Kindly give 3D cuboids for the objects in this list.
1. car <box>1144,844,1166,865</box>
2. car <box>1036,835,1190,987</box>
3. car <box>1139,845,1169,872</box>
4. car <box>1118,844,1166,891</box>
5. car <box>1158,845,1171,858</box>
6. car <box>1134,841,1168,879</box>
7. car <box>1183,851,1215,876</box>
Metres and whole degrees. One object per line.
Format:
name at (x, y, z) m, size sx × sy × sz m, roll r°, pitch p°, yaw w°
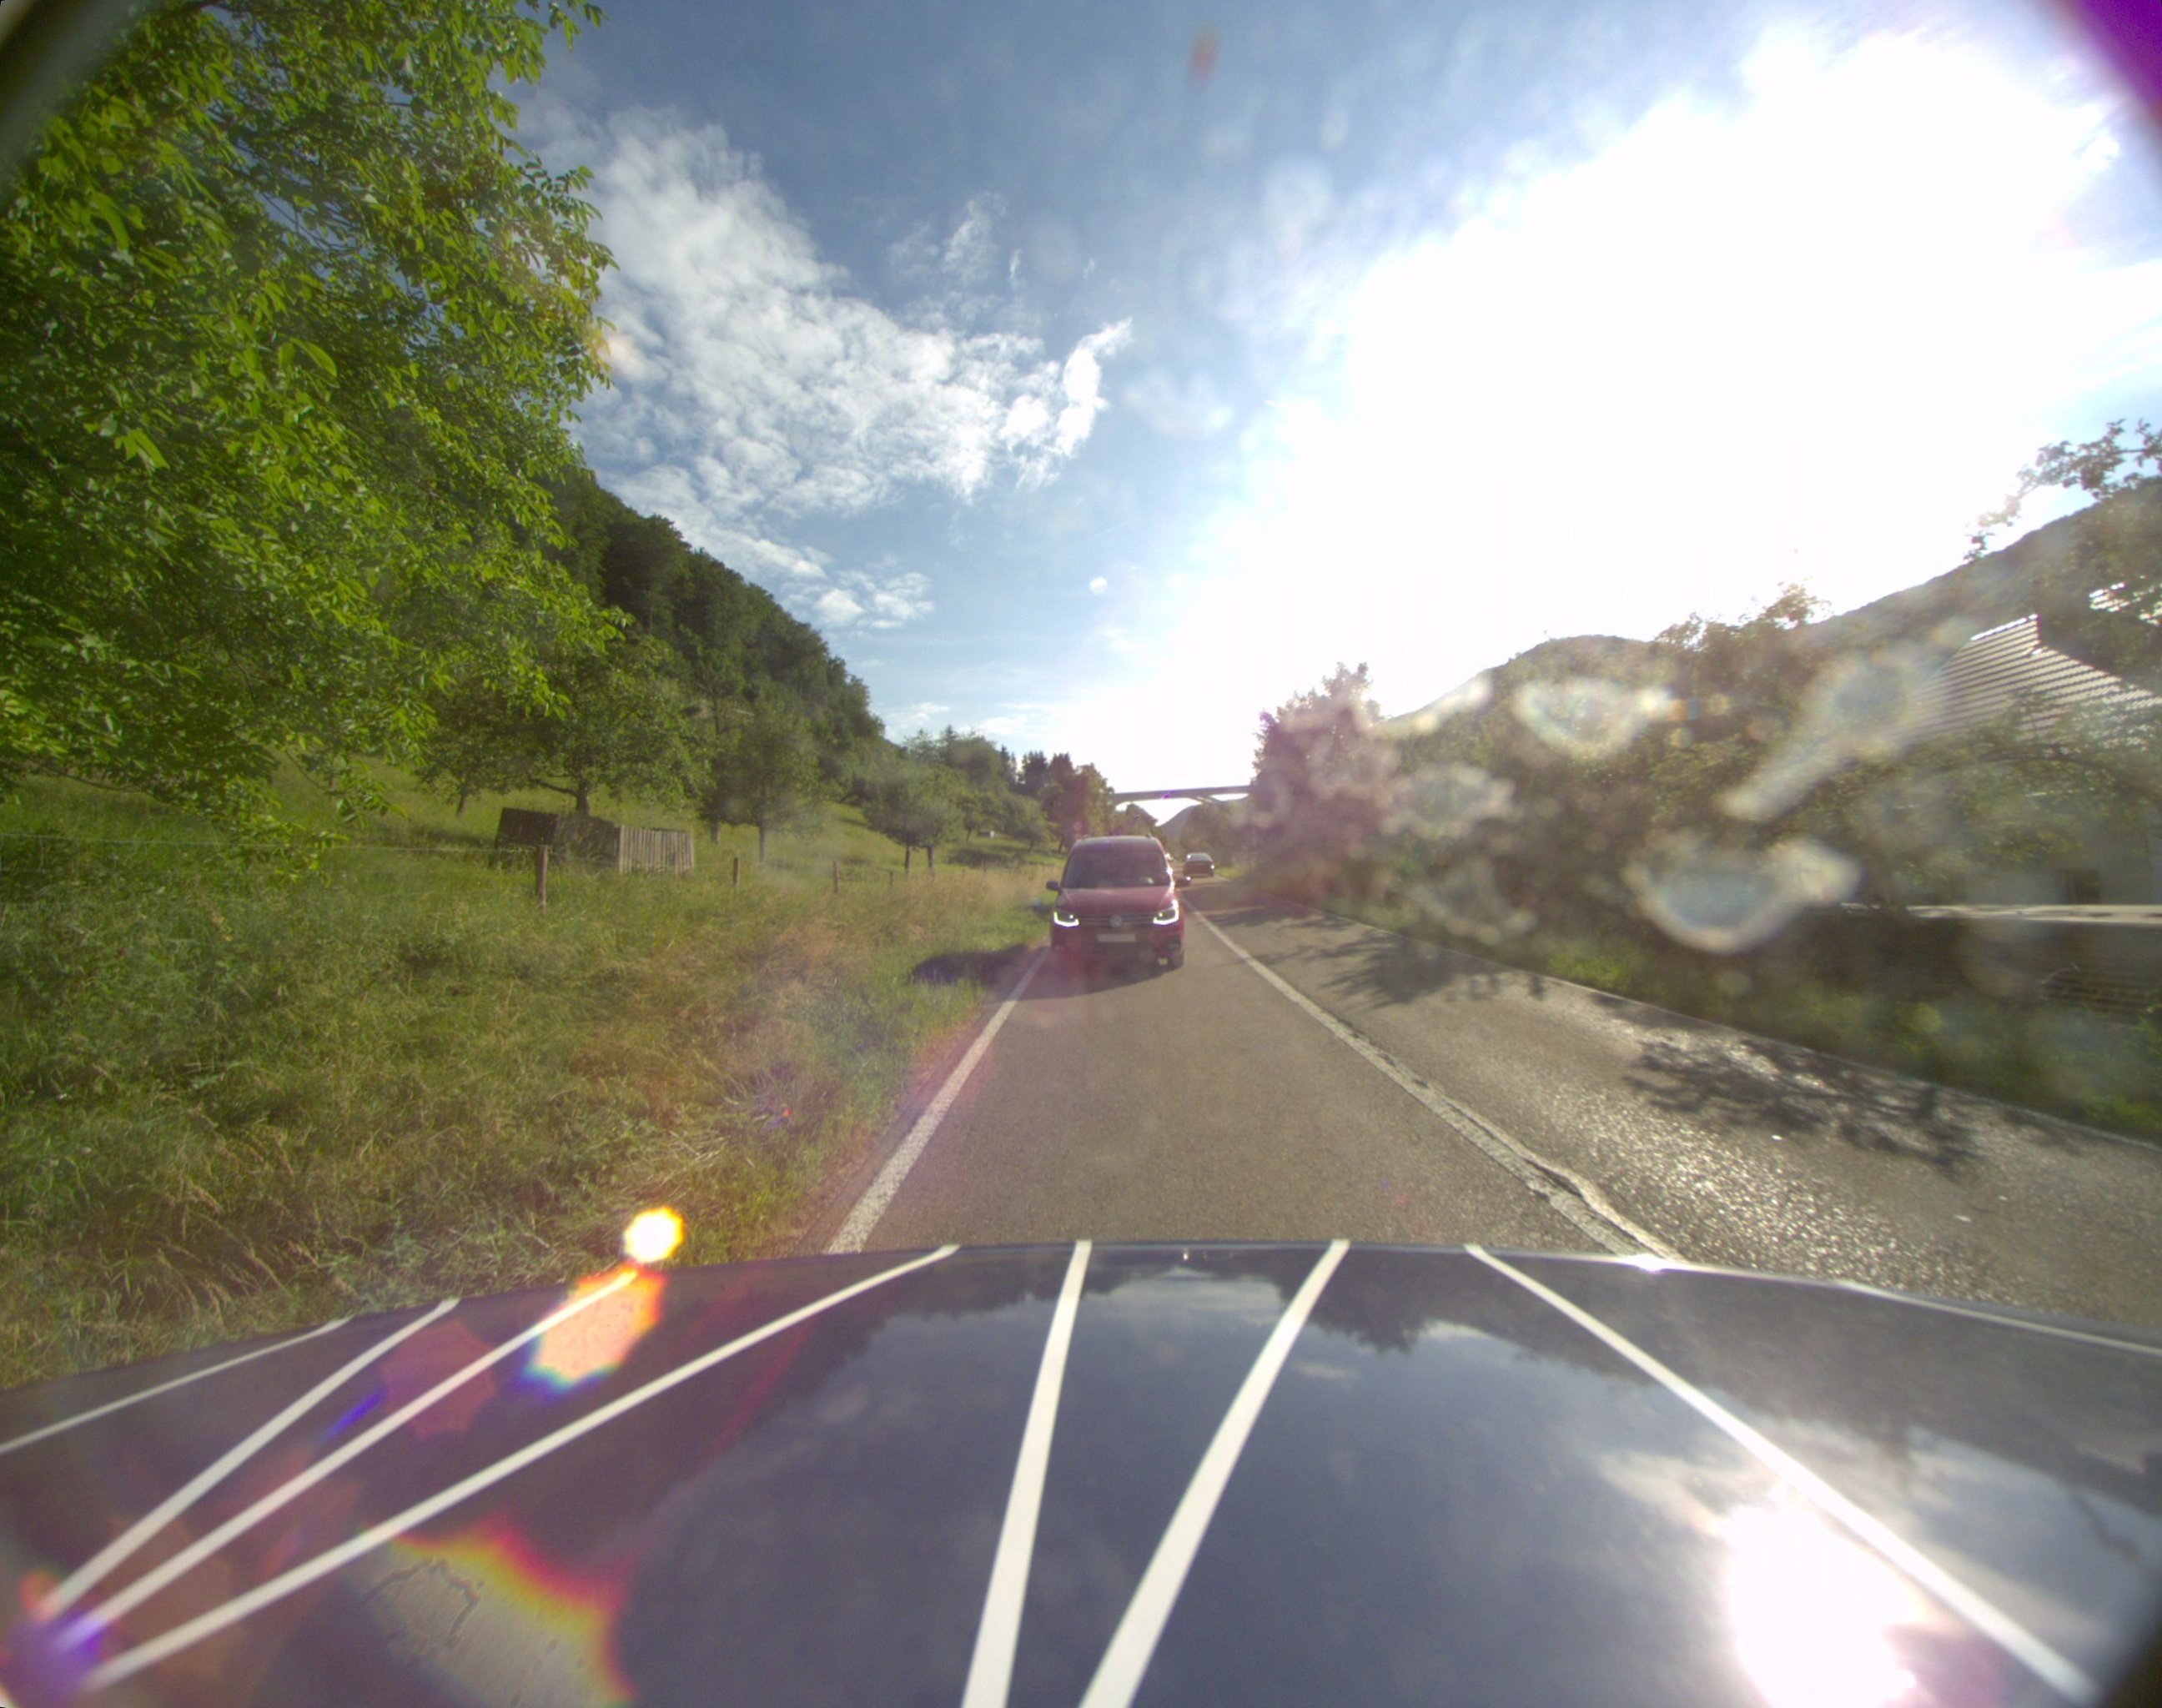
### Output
car at (7.735, 0.033, 79.804) m, size 1.998 × 2.002 × 4.000 m, roll -2°, pitch 1°, yaw 3°
car at (0.458, 0.653, 11.219) m, size 1.759 × 1.745 × 4.429 m, roll -2°, pitch 1°, yaw 2°
car at (5.095, 0.294, 53.204) m, size 1.759 × 1.745 × 4.000 m, roll -2°, pitch 1°, yaw 2°
car at (2.487, 0.496, 31.284) m, size 1.758 × 1.745 × 4.000 m, roll -2°, pitch 1°, yaw 4°
car at (13.779, -0.429, 125.075) m, size 1.998 × 2.002 × 4.001 m, roll -2°, pitch 1°, yaw 5°
car at (3.854, 0.281, 42.114) m, size 1.758 × 1.926 × 4.001 m, roll -2°, pitch 1°, yaw 5°
car at (6.913, 0.527, 44.921) m, size 1.597 × 1.346 × 4.204 m, roll -2°, pitch 1°, yaw 5°
